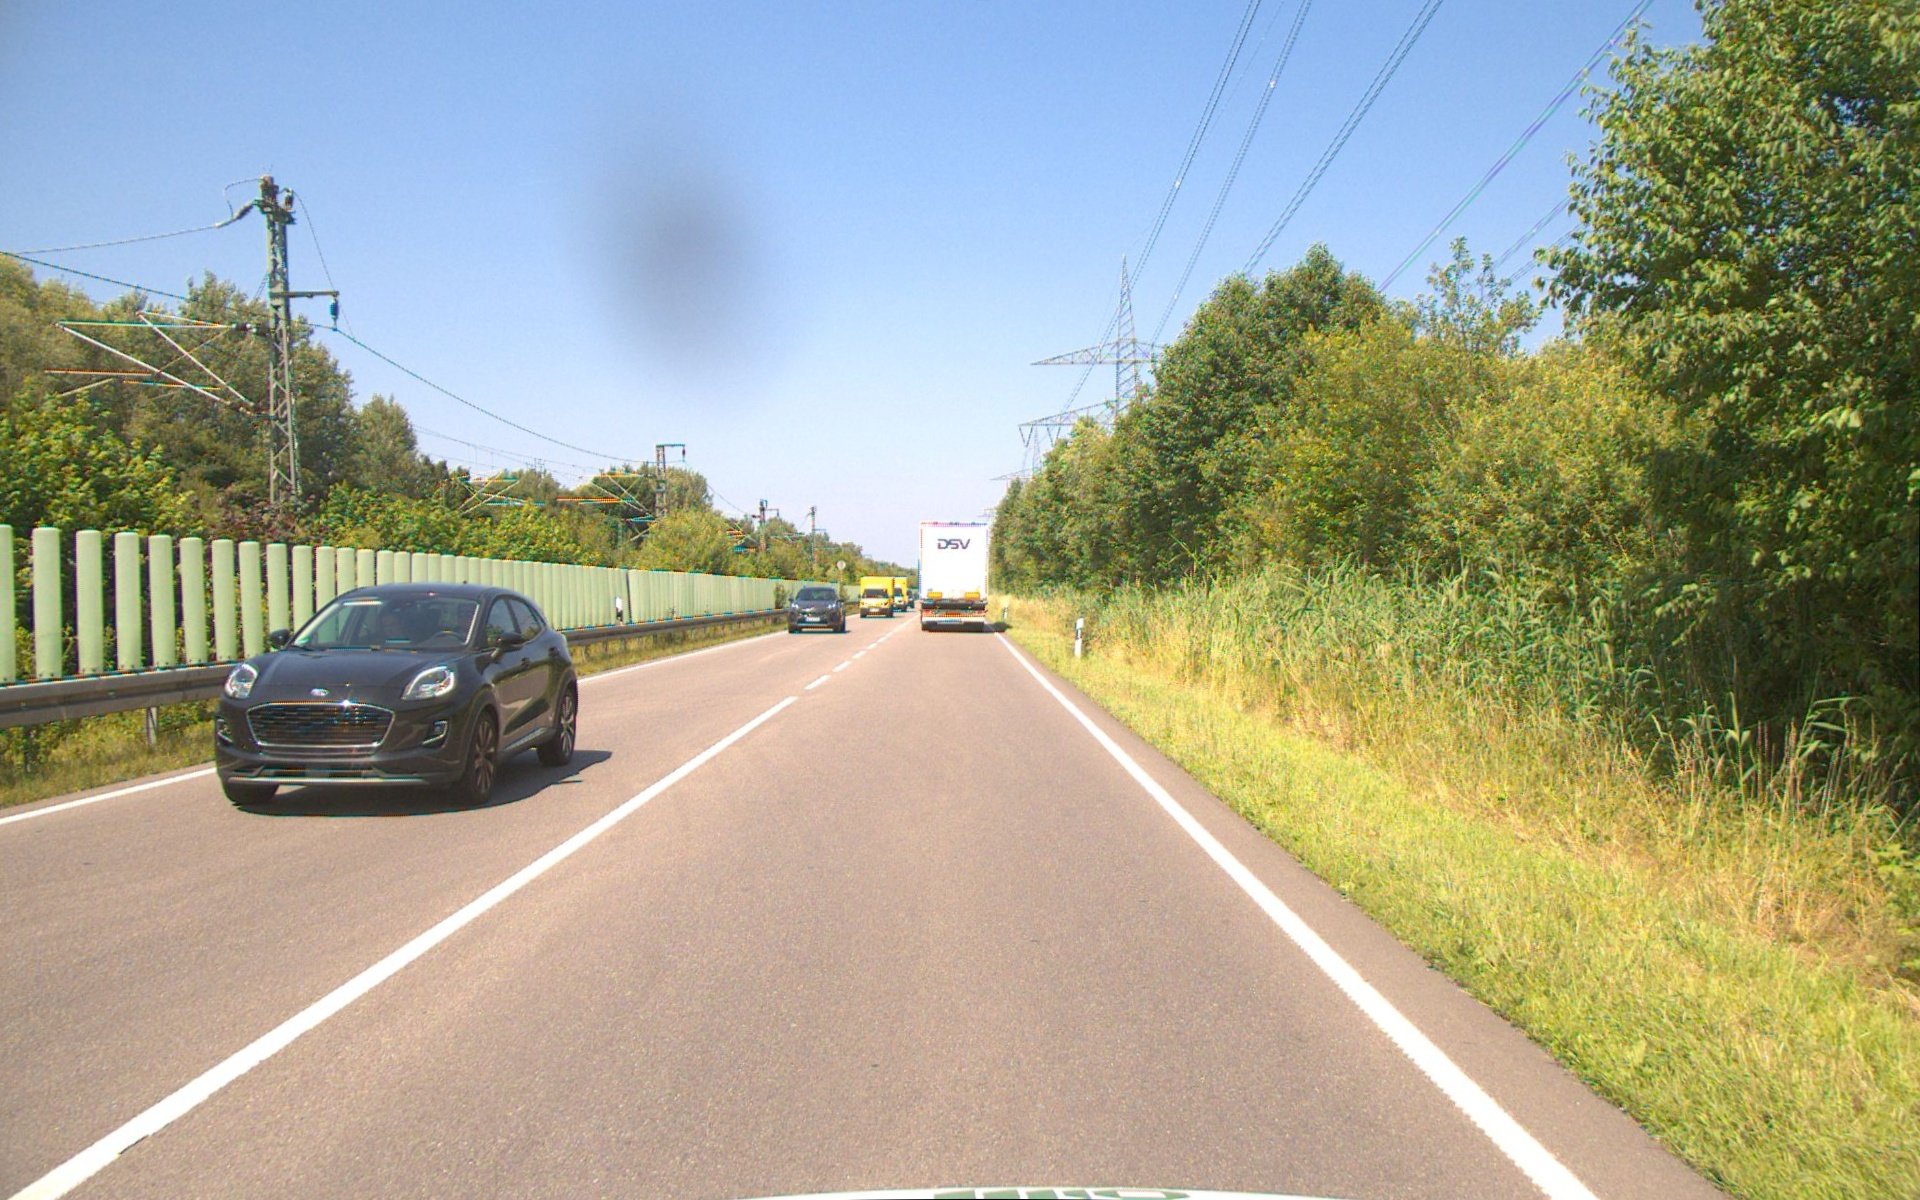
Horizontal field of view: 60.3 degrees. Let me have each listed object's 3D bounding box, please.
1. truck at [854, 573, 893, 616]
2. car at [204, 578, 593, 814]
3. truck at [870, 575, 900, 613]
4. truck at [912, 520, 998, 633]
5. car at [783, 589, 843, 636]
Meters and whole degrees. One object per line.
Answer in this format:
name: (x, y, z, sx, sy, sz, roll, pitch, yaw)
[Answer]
truck: (-4.937, -0.331, 95.051, 1.953, 2.389, 6.011, 0, 0, 0)
car: (-4.154, 0.622, 12.982, 1.639, 1.541, 4.288, 0, 0, -1)
truck: (-5.482, -0.444, 121.937, 2.038, 2.693, 5.703, 0, 0, -1)
truck: (-0.256, -0.869, 66.030, 3.127, 4.113, 12.004, 0, 0, -1)
car: (-5.284, 0.429, 59.925, 1.764, 1.615, 4.370, 1, 0, 0)
